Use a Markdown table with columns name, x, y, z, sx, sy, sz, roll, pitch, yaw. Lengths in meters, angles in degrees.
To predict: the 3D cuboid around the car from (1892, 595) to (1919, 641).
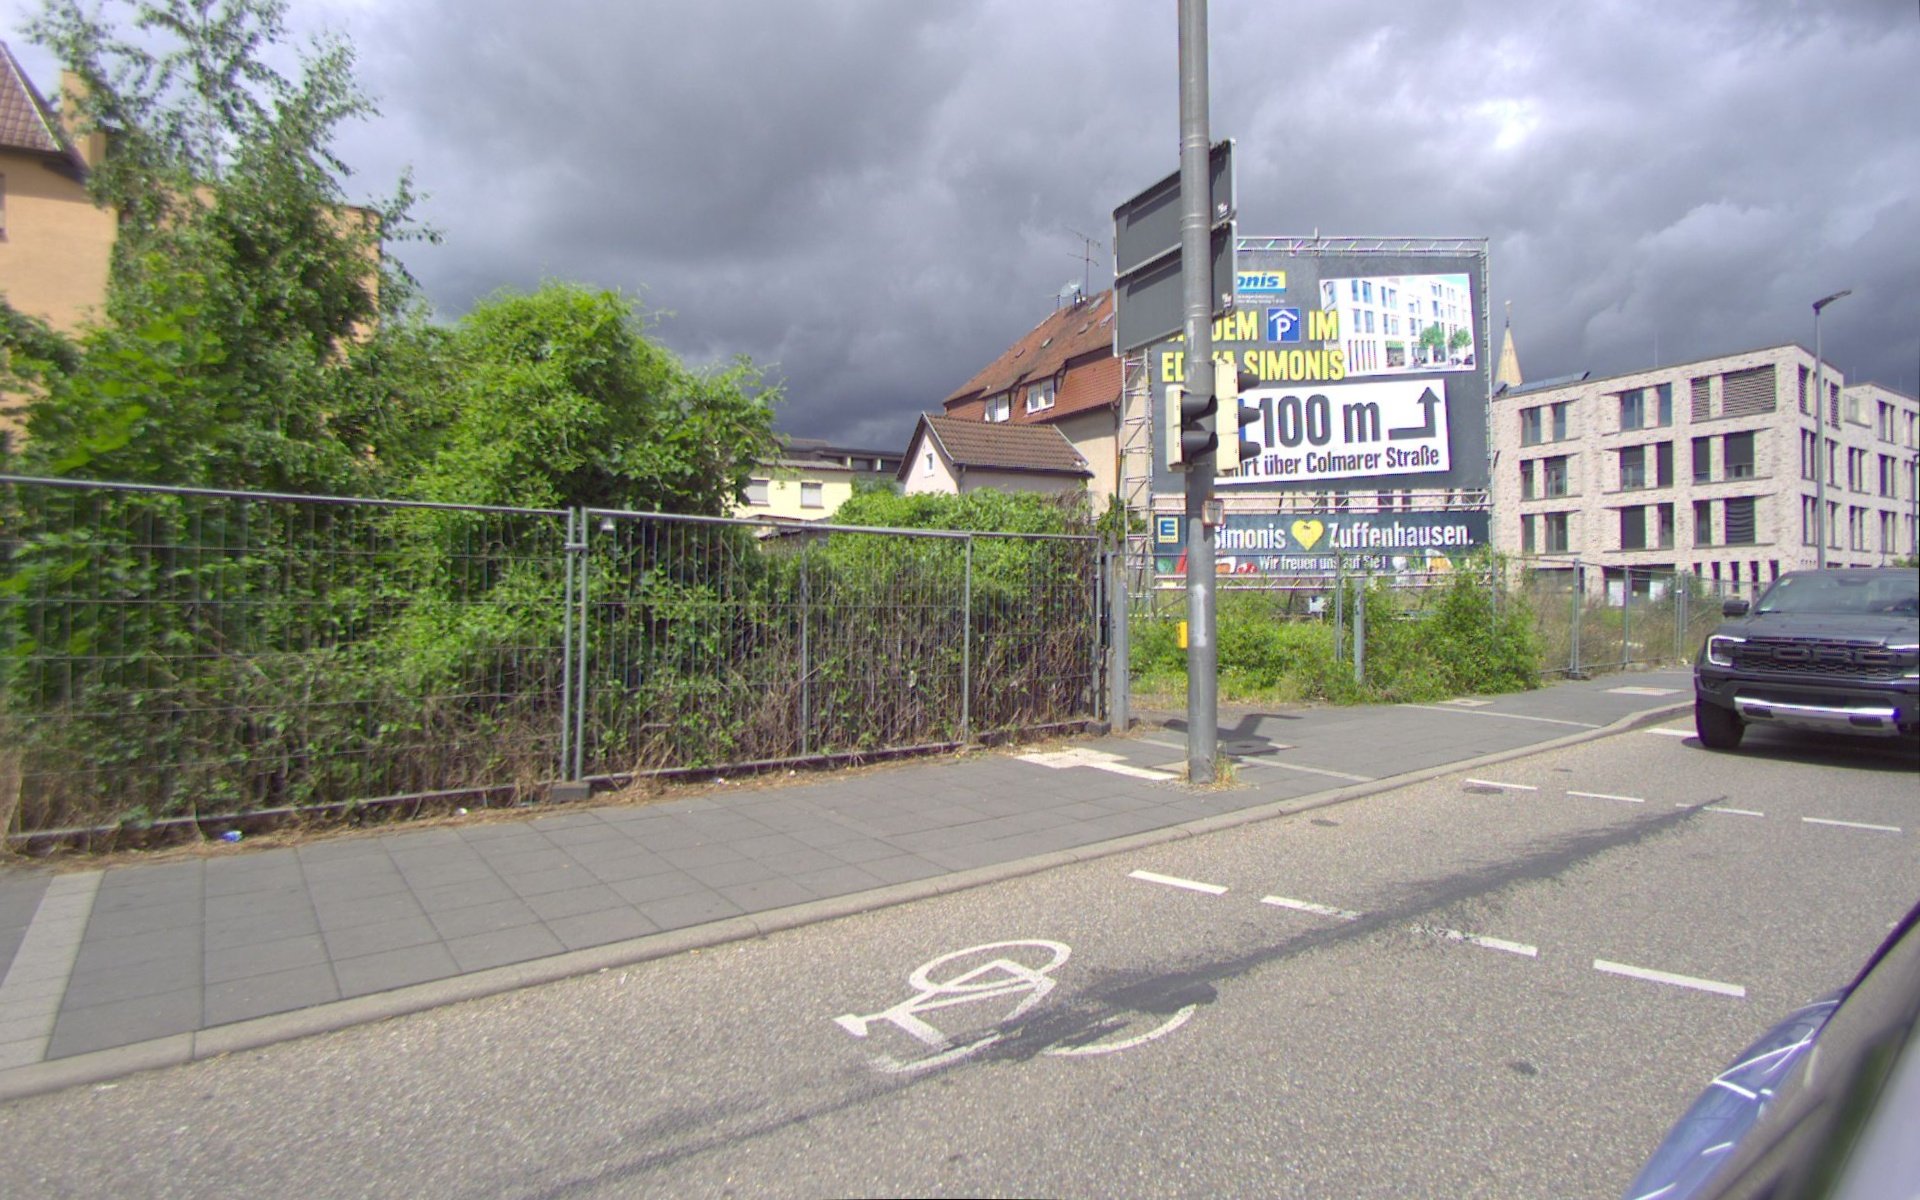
| name | x | y | z | sx | sy | sz | roll | pitch | yaw |
| --- | --- | --- | --- | --- | --- | --- | --- | --- | --- |
| car | 32.785 | 0.604 | 33.948 | 3.726 | 1.441 | 1.678 | -1 | 2 | -39 |

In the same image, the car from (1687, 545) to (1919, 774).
| name | x | y | z | sx | sy | sz | roll | pitch | yaw |
| --- | --- | --- | --- | --- | --- | --- | --- | --- | --- |
| car | 9.637 | 0.440 | 10.513 | 5.056 | 1.910 | 2.005 | -1 | 2 | -37 |
